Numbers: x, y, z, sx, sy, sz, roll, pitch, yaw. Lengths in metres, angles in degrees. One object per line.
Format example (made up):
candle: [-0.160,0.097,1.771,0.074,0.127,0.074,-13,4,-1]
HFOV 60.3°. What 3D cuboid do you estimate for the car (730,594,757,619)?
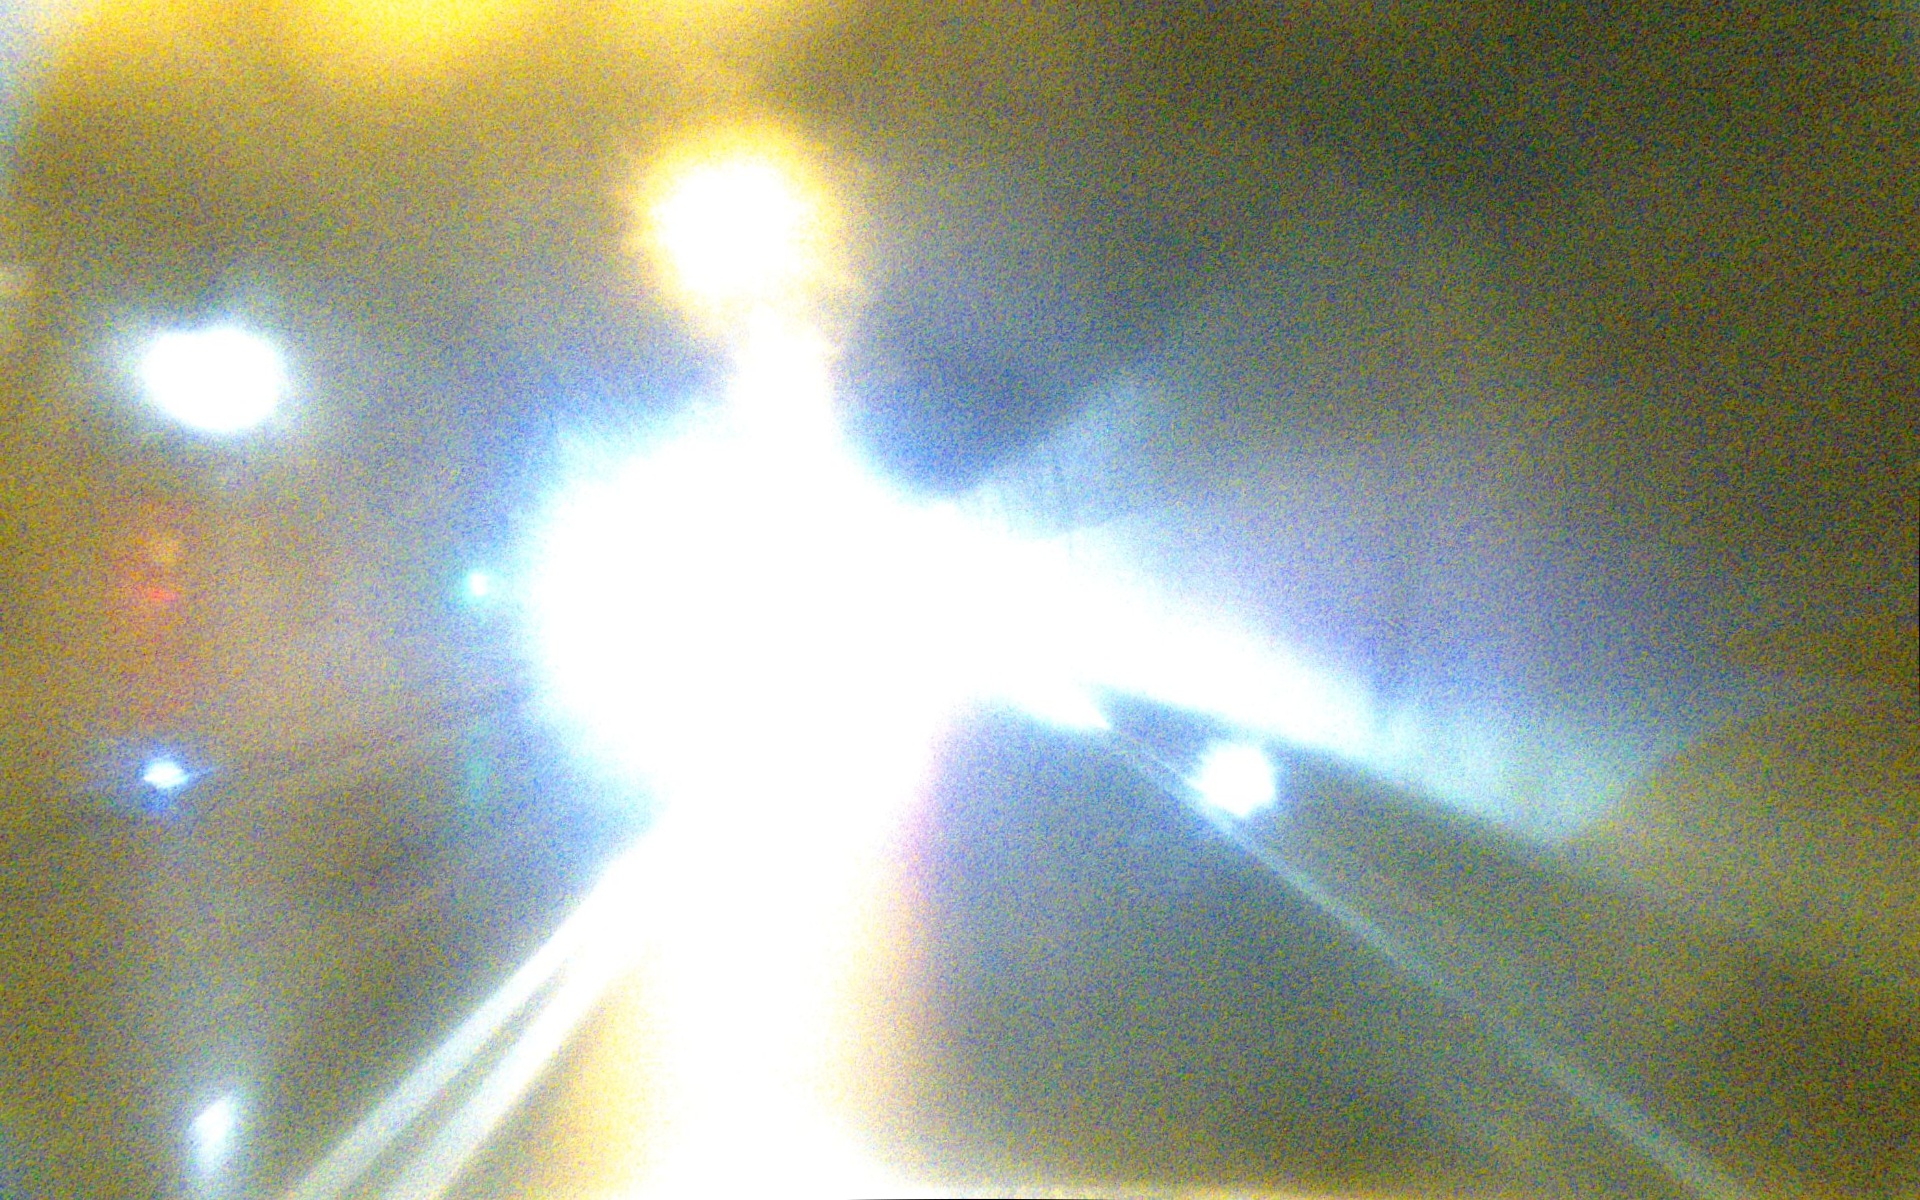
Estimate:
car: [-13.786,0.388,105.230,1.590,1.544,4.130,2,0,-8]

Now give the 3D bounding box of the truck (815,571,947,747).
truck: [-1.600,1.085,33.771,2.217,3.063,7.411,4,0,-3]
